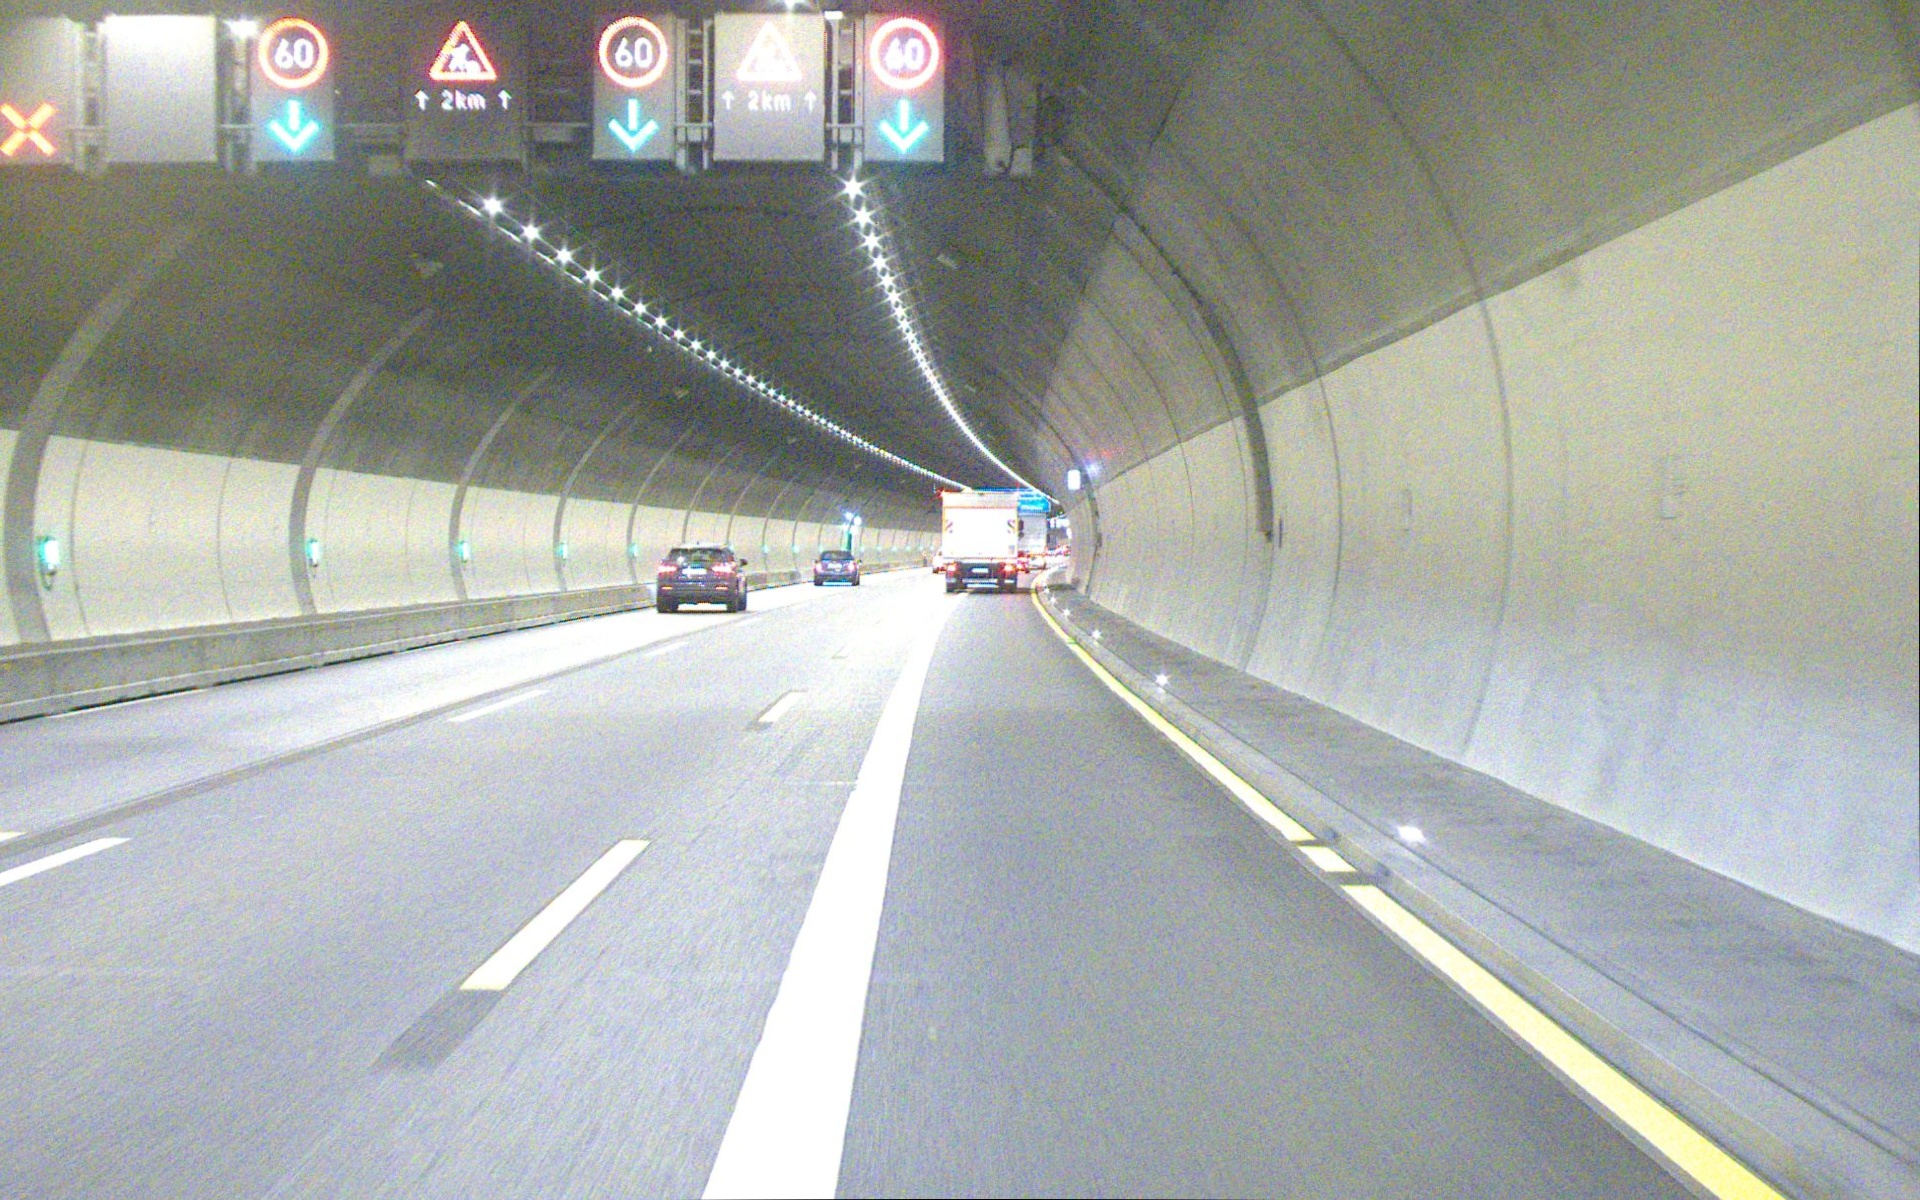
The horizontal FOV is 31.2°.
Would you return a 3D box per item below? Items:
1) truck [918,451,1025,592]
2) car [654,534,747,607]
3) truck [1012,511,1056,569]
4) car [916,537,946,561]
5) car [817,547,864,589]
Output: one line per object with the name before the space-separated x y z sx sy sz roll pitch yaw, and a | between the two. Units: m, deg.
truck | 0.273 -2.767 123.112 3.278 4.634 17.288 -2 1 -1
car | -5.894 -0.698 78.363 1.812 1.612 4.000 0 1 0
truck | 5.286 -4.332 247.939 2.923 4.034 14.030 -2 1 1
car | -1.692 -2.955 199.516 1.650 1.270 4.001 0 3 -1
car | -4.698 -1.281 135.547 1.812 1.514 4.001 0 3 -1
